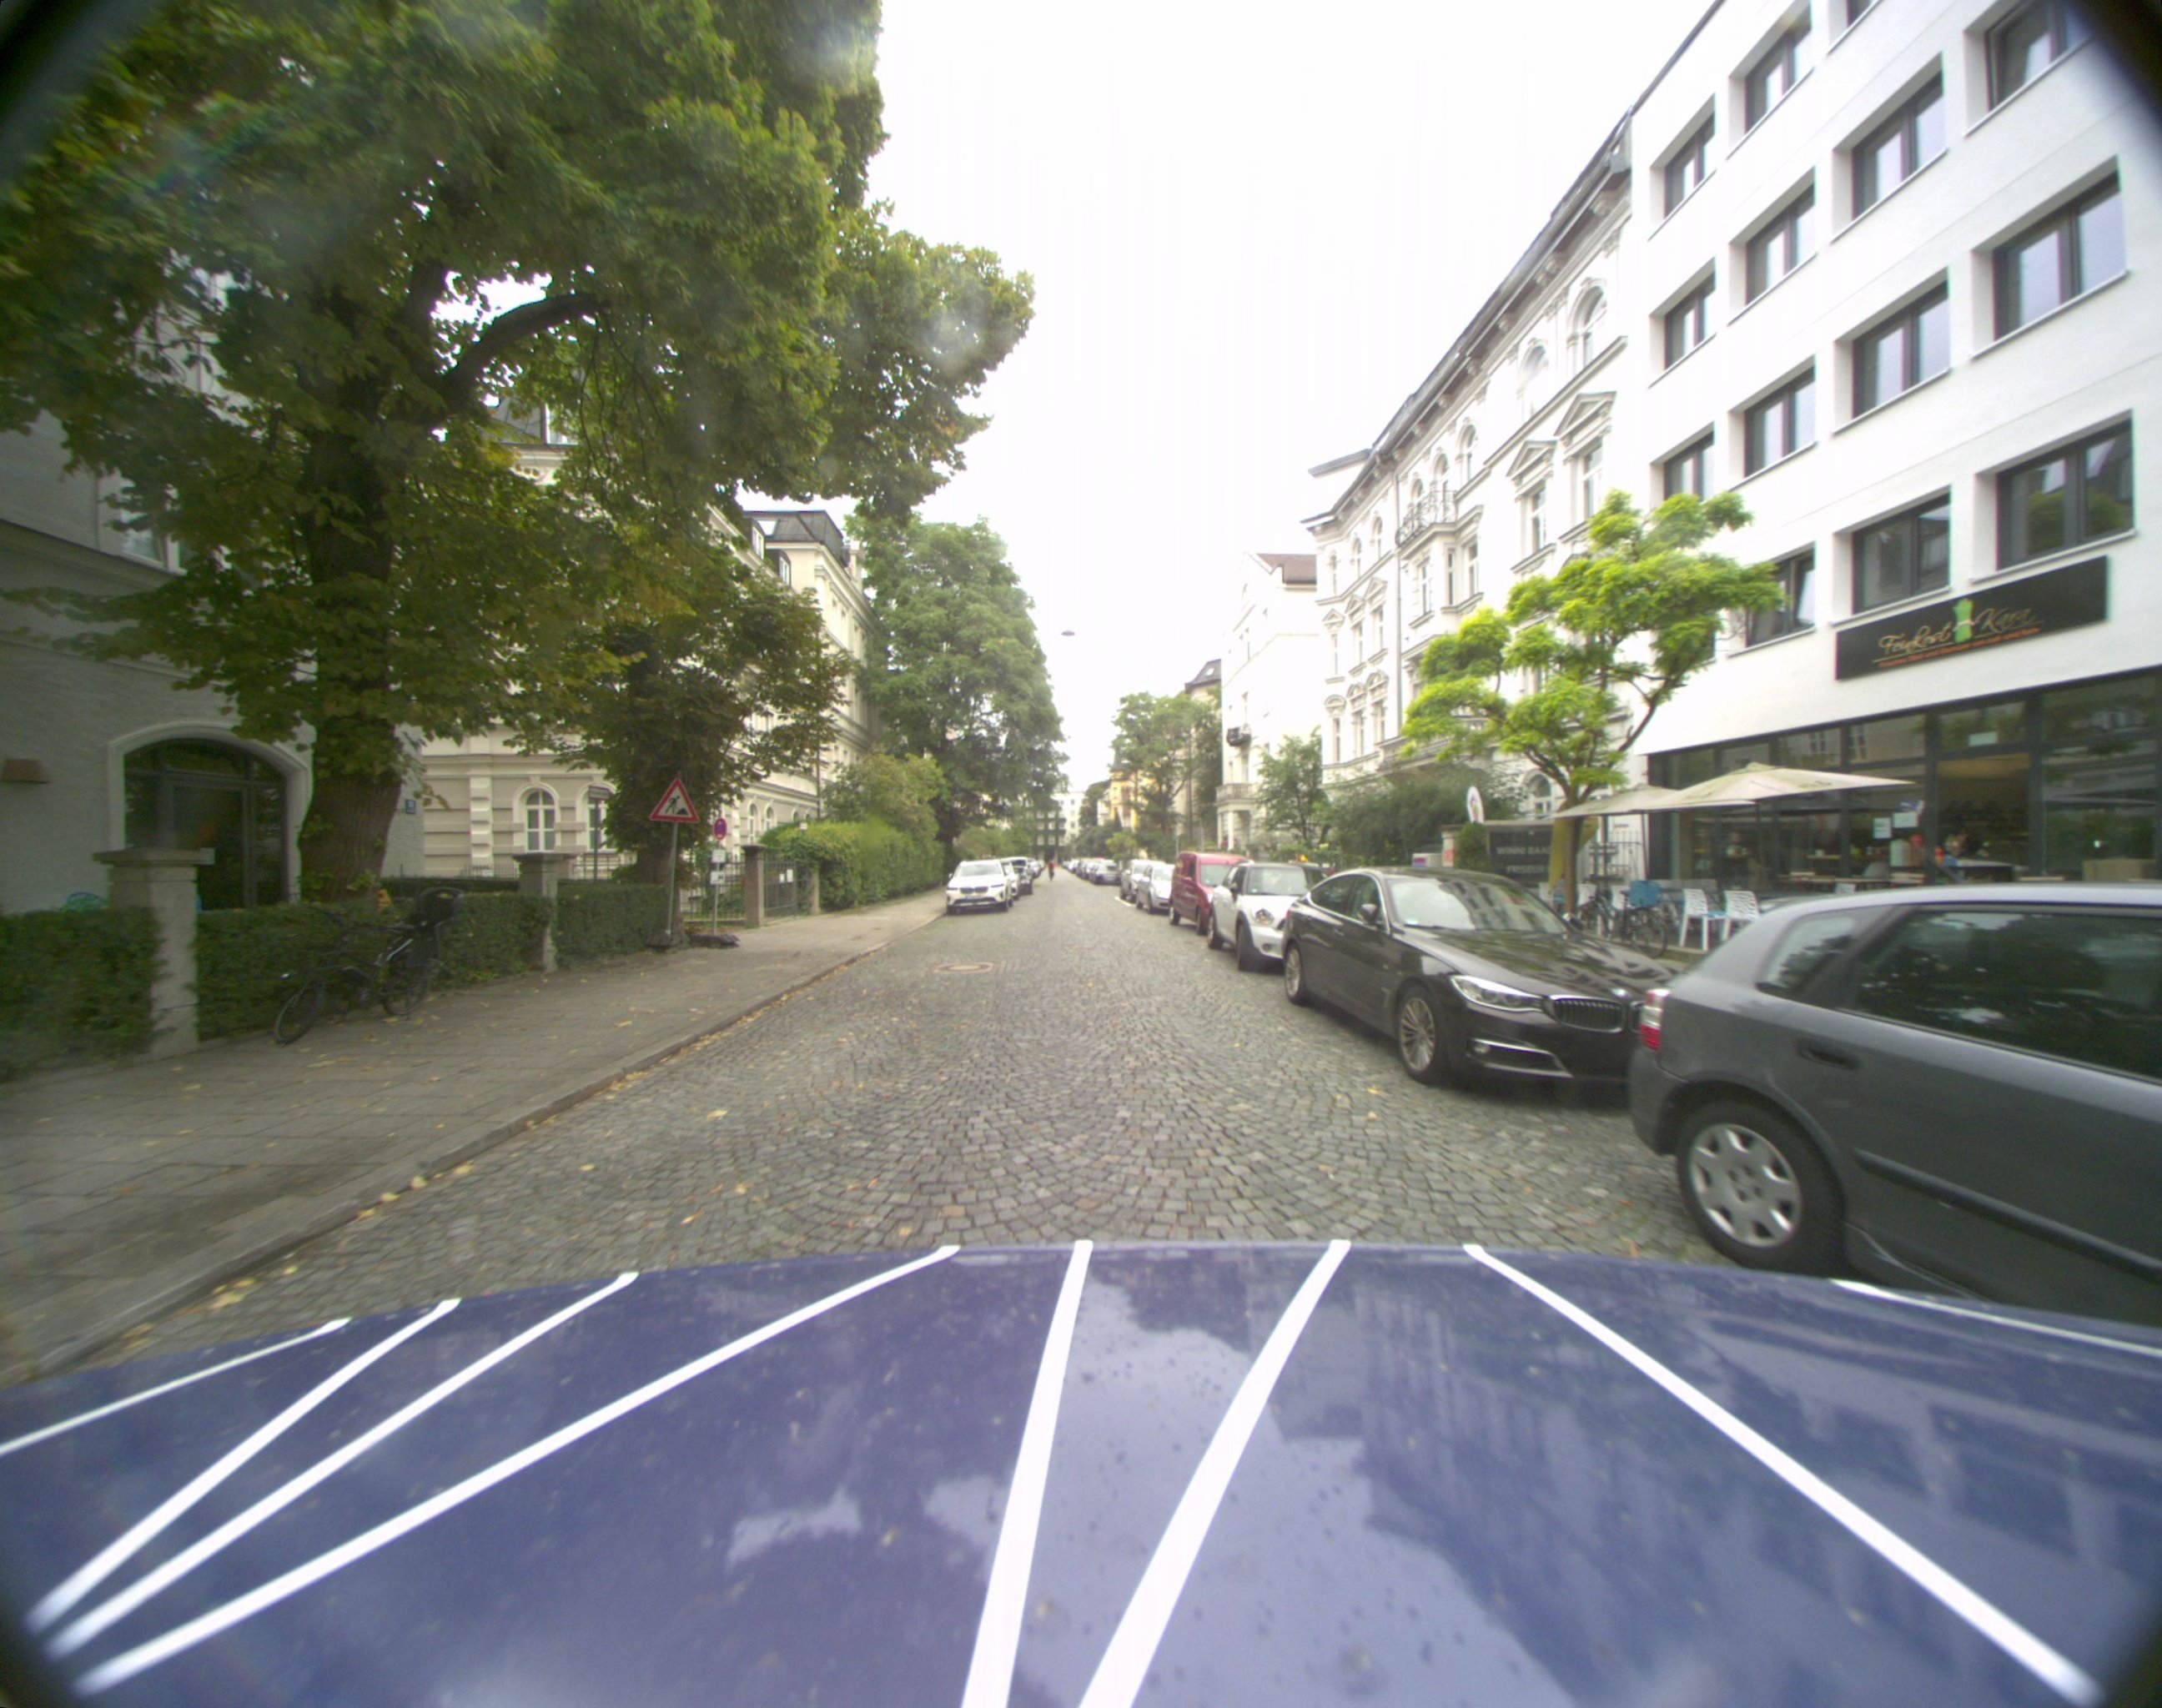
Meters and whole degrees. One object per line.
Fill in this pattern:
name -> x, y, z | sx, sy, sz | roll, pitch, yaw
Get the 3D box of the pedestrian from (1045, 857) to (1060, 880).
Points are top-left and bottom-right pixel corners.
pedestrian -> -2.310, 1.124, 61.068 | 1.106, 1.768, 1.263 | -2, 1, -1

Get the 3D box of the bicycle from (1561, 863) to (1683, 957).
bicycle -> 7.667, 0.743, 10.877 | 0.361, 1.168, 1.910 | -2, 1, 0

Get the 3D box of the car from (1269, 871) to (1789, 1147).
car -> 3.086, 0.928, 6.520 | 1.730, 1.456, 4.472 | 1, 0, -1

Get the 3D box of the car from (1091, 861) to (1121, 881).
car -> 1.824, 1.244, 56.382 | 1.999, 1.324, 3.999 | -2, 0, -1

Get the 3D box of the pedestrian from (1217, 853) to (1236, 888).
pedestrian -> 6.791, 0.770, 35.457 | 0.665, 1.618, 0.670 | -1, 1, 30

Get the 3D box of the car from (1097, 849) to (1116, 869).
car -> 2.706, 0.489, 81.084 | 1.763, 2.002, 3.999 | -2, 1, -1

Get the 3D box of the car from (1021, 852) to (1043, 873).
car -> -4.937, 0.835, 76.777 | 1.999, 2.002, 3.999 | -2, 1, -1

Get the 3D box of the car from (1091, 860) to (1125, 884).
car -> 1.778, 1.200, 51.353 | 1.886, 1.411, 4.807 | 3, 0, -3

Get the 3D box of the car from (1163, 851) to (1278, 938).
car -> 2.983, 0.797, 17.061 | 1.722, 1.713, 3.897 | -1, 0, -2

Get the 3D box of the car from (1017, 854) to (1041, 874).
car -> -4.882, 0.942, 71.729 | 1.999, 1.705, 3.999 | -2, 1, -1

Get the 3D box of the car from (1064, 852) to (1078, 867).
car -> -1.385, 0.709, 104.769 | 1.791, 2.002, 3.214 | -2, 1, -1

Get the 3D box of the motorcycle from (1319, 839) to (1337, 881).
motorcycle -> 7.088, 0.150, 21.846 | 0.331, 1.173, 1.626 | -2, 1, 14

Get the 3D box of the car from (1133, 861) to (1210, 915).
car -> 2.675, 0.969, 23.217 | 1.636, 1.386, 3.814 | -2, 1, -4

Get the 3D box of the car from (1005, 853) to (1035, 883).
car -> -4.341, 0.960, 54.672 | 1.999, 2.002, 3.998 | -2, 1, -3

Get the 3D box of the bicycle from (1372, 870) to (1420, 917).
bicycle -> 7.508, 0.915, 18.165 | 0.258, 1.072, 1.685 | -2, -1, -6

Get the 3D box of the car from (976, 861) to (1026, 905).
car -> -3.281, 1.164, 31.838 | 1.752, 1.591, 4.470 | -2, 1, -3

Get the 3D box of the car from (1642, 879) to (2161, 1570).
car -> 3.330, 0.883, 1.251 | 1.666, 1.474, 3.980 | -2, 1, -4

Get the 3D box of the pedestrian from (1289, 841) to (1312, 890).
pedestrian -> 7.541, 0.391, 26.123 | 0.577, 1.637, 0.822 | -1, 0, 5

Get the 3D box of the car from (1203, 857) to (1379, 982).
car -> 2.988, 0.845, 11.606 | 1.697, 1.495, 3.777 | -2, 1, 2

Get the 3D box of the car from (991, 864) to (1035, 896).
car -> -3.255, 1.219, 37.193 | 1.924, 1.290, 4.807 | -2, 0, -3

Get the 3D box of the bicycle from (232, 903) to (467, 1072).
bicycle -> -6.460, 1.109, 6.848 | 0.429, 1.191, 1.730 | 3, 1, -1

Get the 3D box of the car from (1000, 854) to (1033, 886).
car -> -4.162, 0.970, 49.839 | 1.819, 1.809, 4.807 | -5, 1, -3

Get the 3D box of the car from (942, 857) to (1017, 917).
car -> -3.232, 0.990, 25.057 | 1.925, 1.676, 4.632 | -2, 1, -1

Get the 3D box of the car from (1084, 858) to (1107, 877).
car -> 1.192, 1.104, 64.015 | 1.714, 1.416, 3.999 | -2, 1, -1

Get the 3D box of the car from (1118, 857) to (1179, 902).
car -> 2.548, 0.926, 29.486 | 1.694, 1.563, 4.066 | -2, 1, -4
